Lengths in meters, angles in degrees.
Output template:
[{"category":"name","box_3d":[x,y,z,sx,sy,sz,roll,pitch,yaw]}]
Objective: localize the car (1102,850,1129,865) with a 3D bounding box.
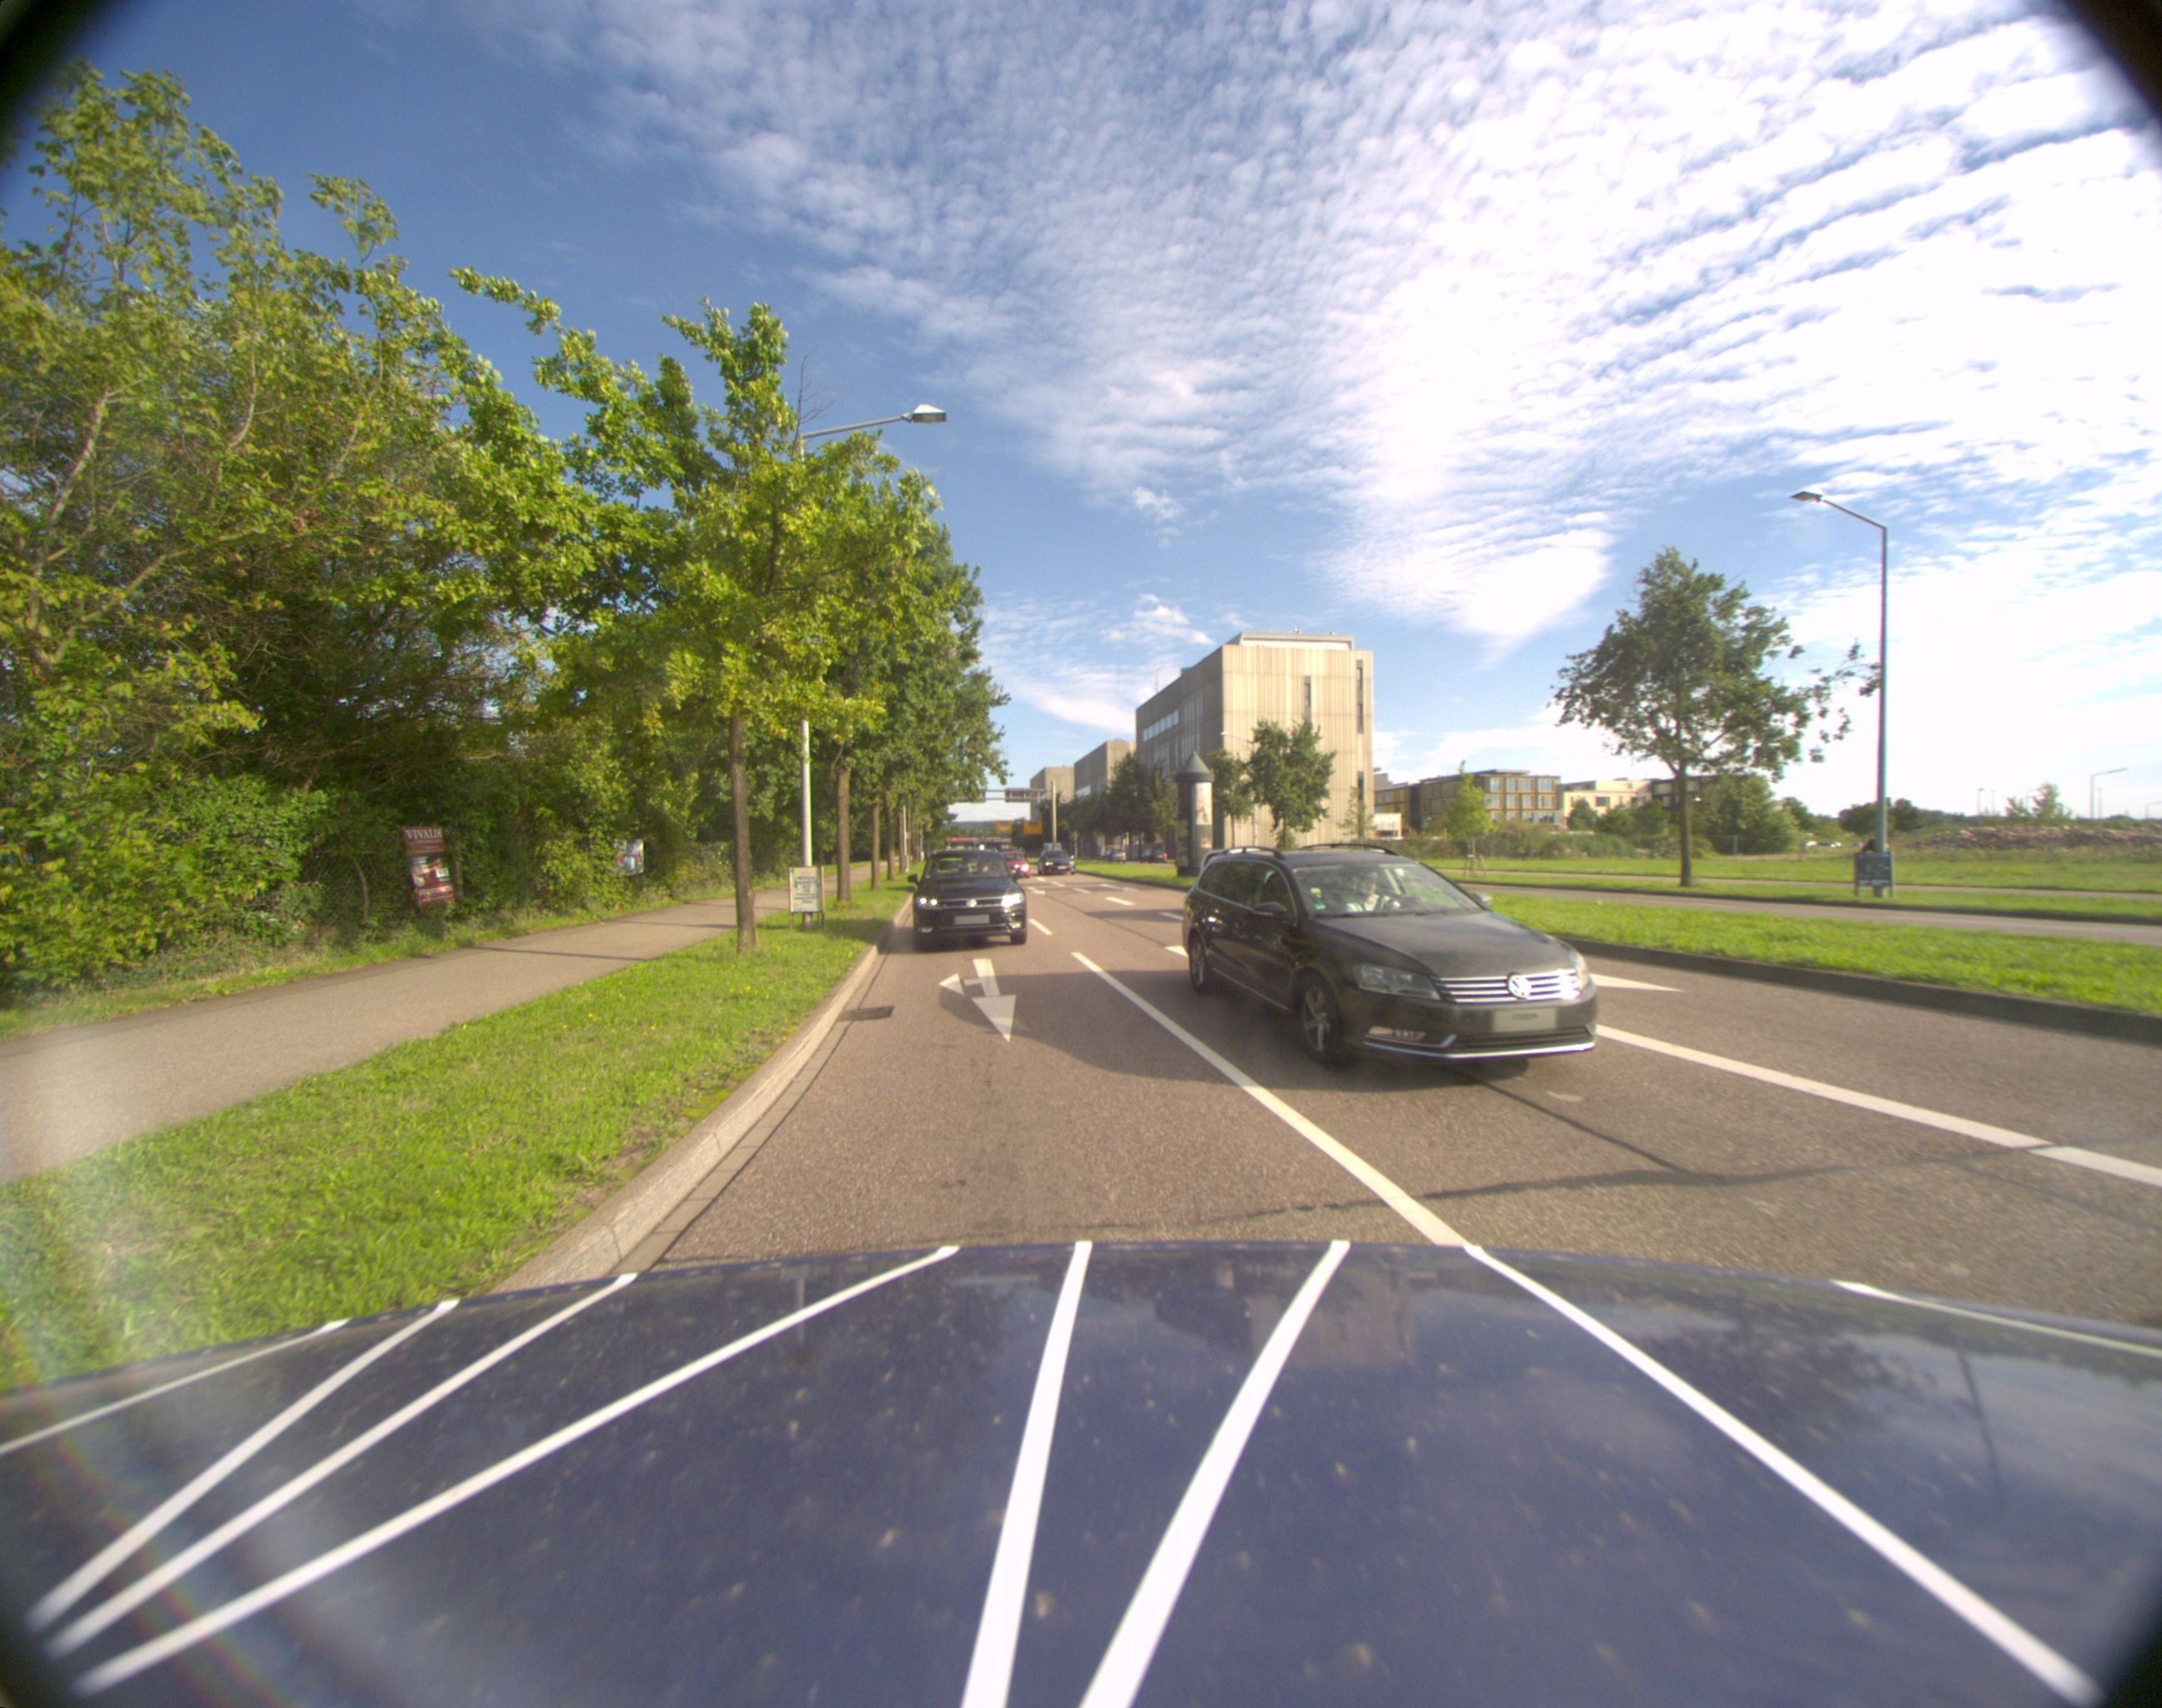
[{"category":"car","box_3d":[3.527,0.357,77.865,1.857,1.425,4.064,-1,1,-11]}]

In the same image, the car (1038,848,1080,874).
[{"category":"car","box_3d":[-1.351,0.383,44.753,1.824,1.412,4.442,-2,1,-10]}]

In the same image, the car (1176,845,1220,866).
[{"category":"car","box_3d":[8.095,0.094,52.986,1.687,1.425,3.585,-1,1,-16]}]

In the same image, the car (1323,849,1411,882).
[{"category":"car","box_3d":[12.970,0.479,34.697,1.687,1.425,3.988,-1,1,-17]}]

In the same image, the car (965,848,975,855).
[{"category":"car","box_3d":[-21.615,-0.473,147.799,1.738,1.381,3.996,-1,1,-10]}]

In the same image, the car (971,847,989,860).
[{"category":"car","box_3d":[-13.932,-0.100,104.470,2.001,1.652,4.797,-1,1,-12]}]

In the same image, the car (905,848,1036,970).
[{"category":"car","box_3d":[-2.135,0.800,14.020,1.873,1.685,5.009,-4,2,-11]}]

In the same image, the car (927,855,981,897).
[{"category":"car","box_3d":[-5.093,0.817,30.250,1.897,1.412,4.603,-2,1,-10]}]

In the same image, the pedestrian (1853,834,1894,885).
[{"category":"pedestrian","box_3d":[25.796,0.170,24.738,0.628,1.620,0.657,-2,1,-8]}]

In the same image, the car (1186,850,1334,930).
[{"category":"car","box_3d":[3.690,0.668,16.339,1.767,1.456,3.656,-2,1,-10]}]

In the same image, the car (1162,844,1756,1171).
[{"category":"car","box_3d":[2.301,0.751,6.368,2.000,1.557,4.840,-3,1,-8]}]

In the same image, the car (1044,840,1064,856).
[{"category":"car","box_3d":[-3.870,-0.882,109.069,2.034,2.241,5.535,1,0,-11]}]

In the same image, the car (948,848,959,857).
[{"category":"car","box_3d":[-20.095,-0.250,119.541,1.738,1.381,3.996,-1,1,-10]}]

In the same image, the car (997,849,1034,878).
[{"category":"car","box_3d":[-3.675,0.508,42.127,1.695,1.466,4.223,-2,1,-9]}]

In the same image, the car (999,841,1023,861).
[{"category":"car","box_3d":[-6.585,-0.287,71.413,1.695,1.467,4.219,-3,5,-12]}]
